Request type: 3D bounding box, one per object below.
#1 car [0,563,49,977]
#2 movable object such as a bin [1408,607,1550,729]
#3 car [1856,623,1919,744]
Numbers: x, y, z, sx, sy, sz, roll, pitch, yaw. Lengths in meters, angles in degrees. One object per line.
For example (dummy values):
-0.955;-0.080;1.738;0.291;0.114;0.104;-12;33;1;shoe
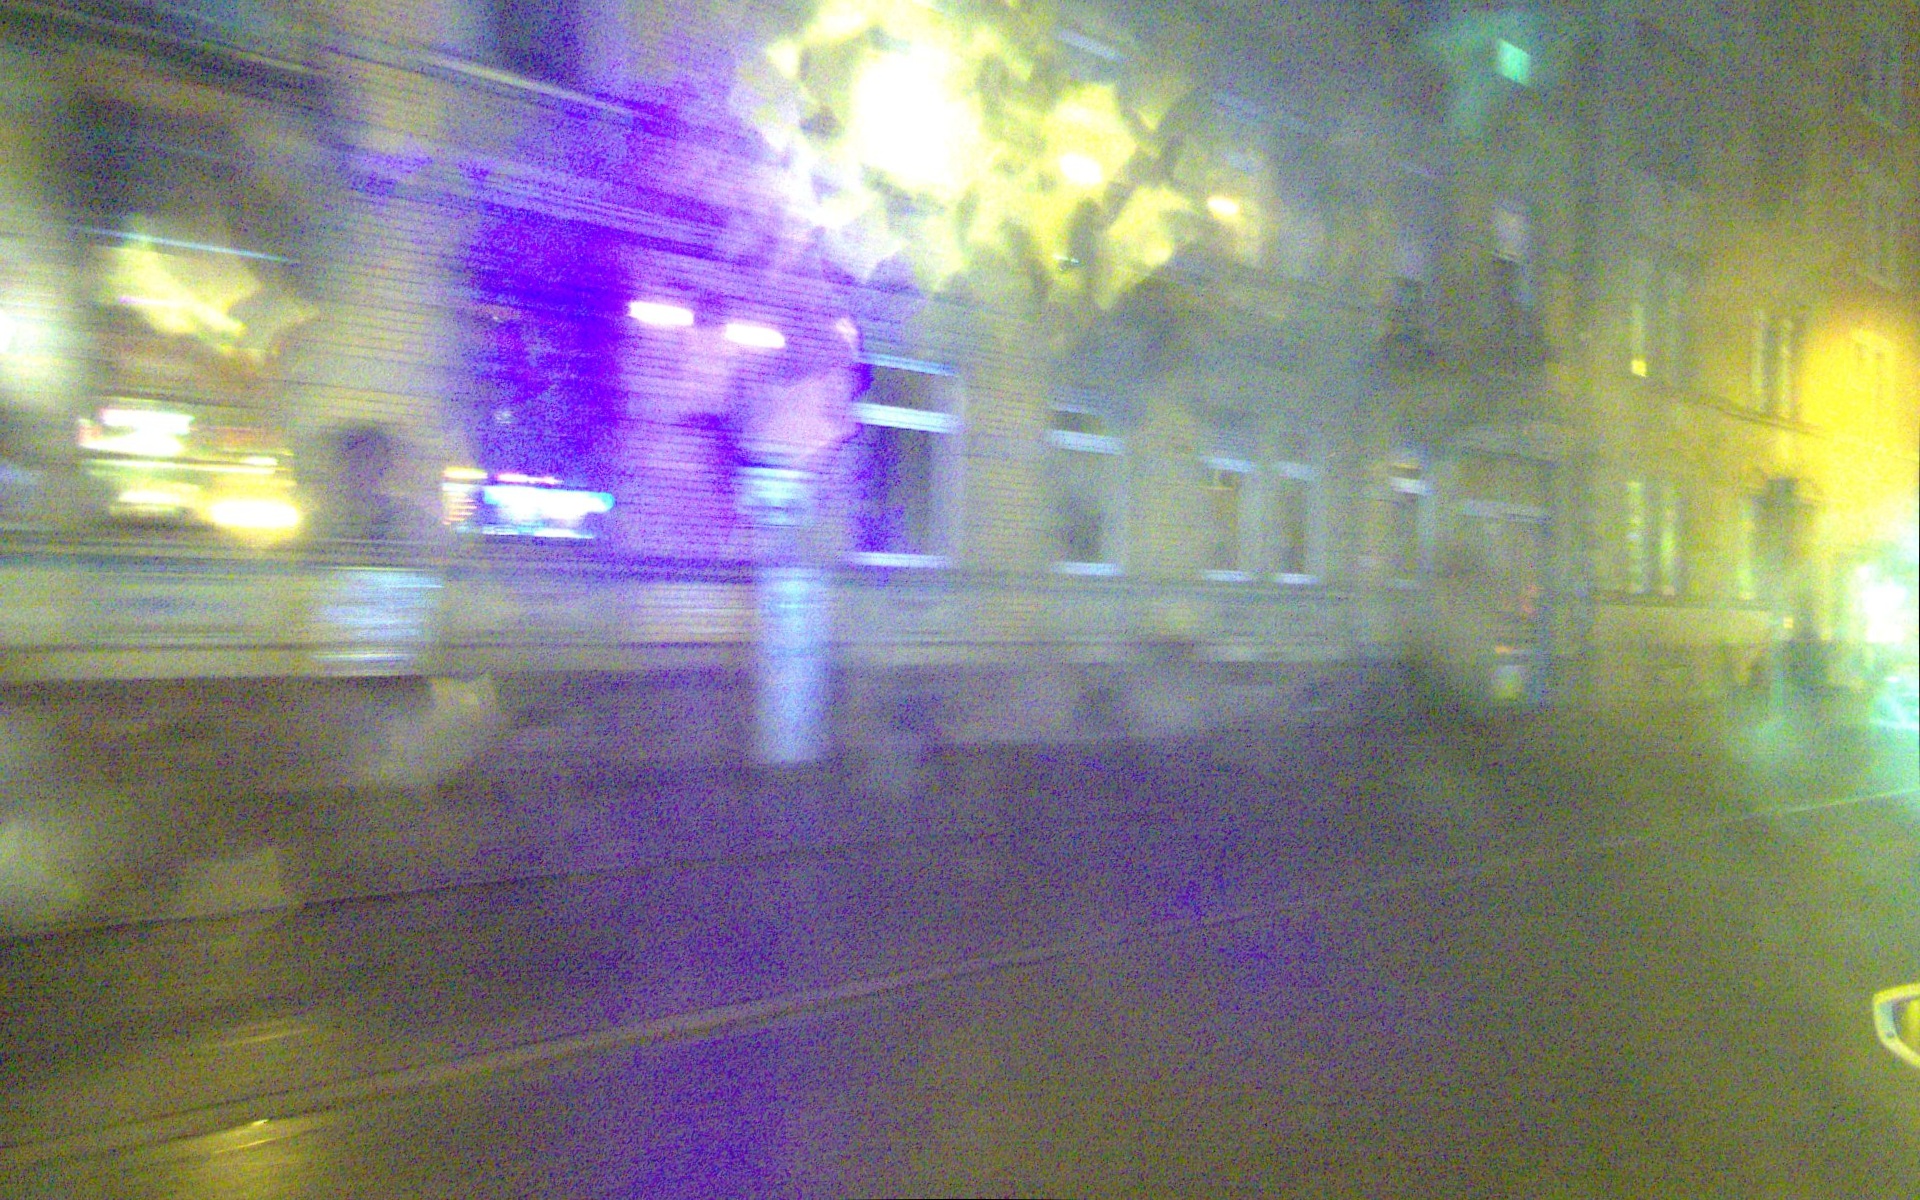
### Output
-5.395;0.615;2.210;4.714;1.503;1.759;1;3;-29;car
6.686;0.836;12.957;1.363;1.473;1.095;1;-1;-32;movable object such as a bin
13.927;1.125;13.548;3.678;1.511;1.664;1;1;-30;car
